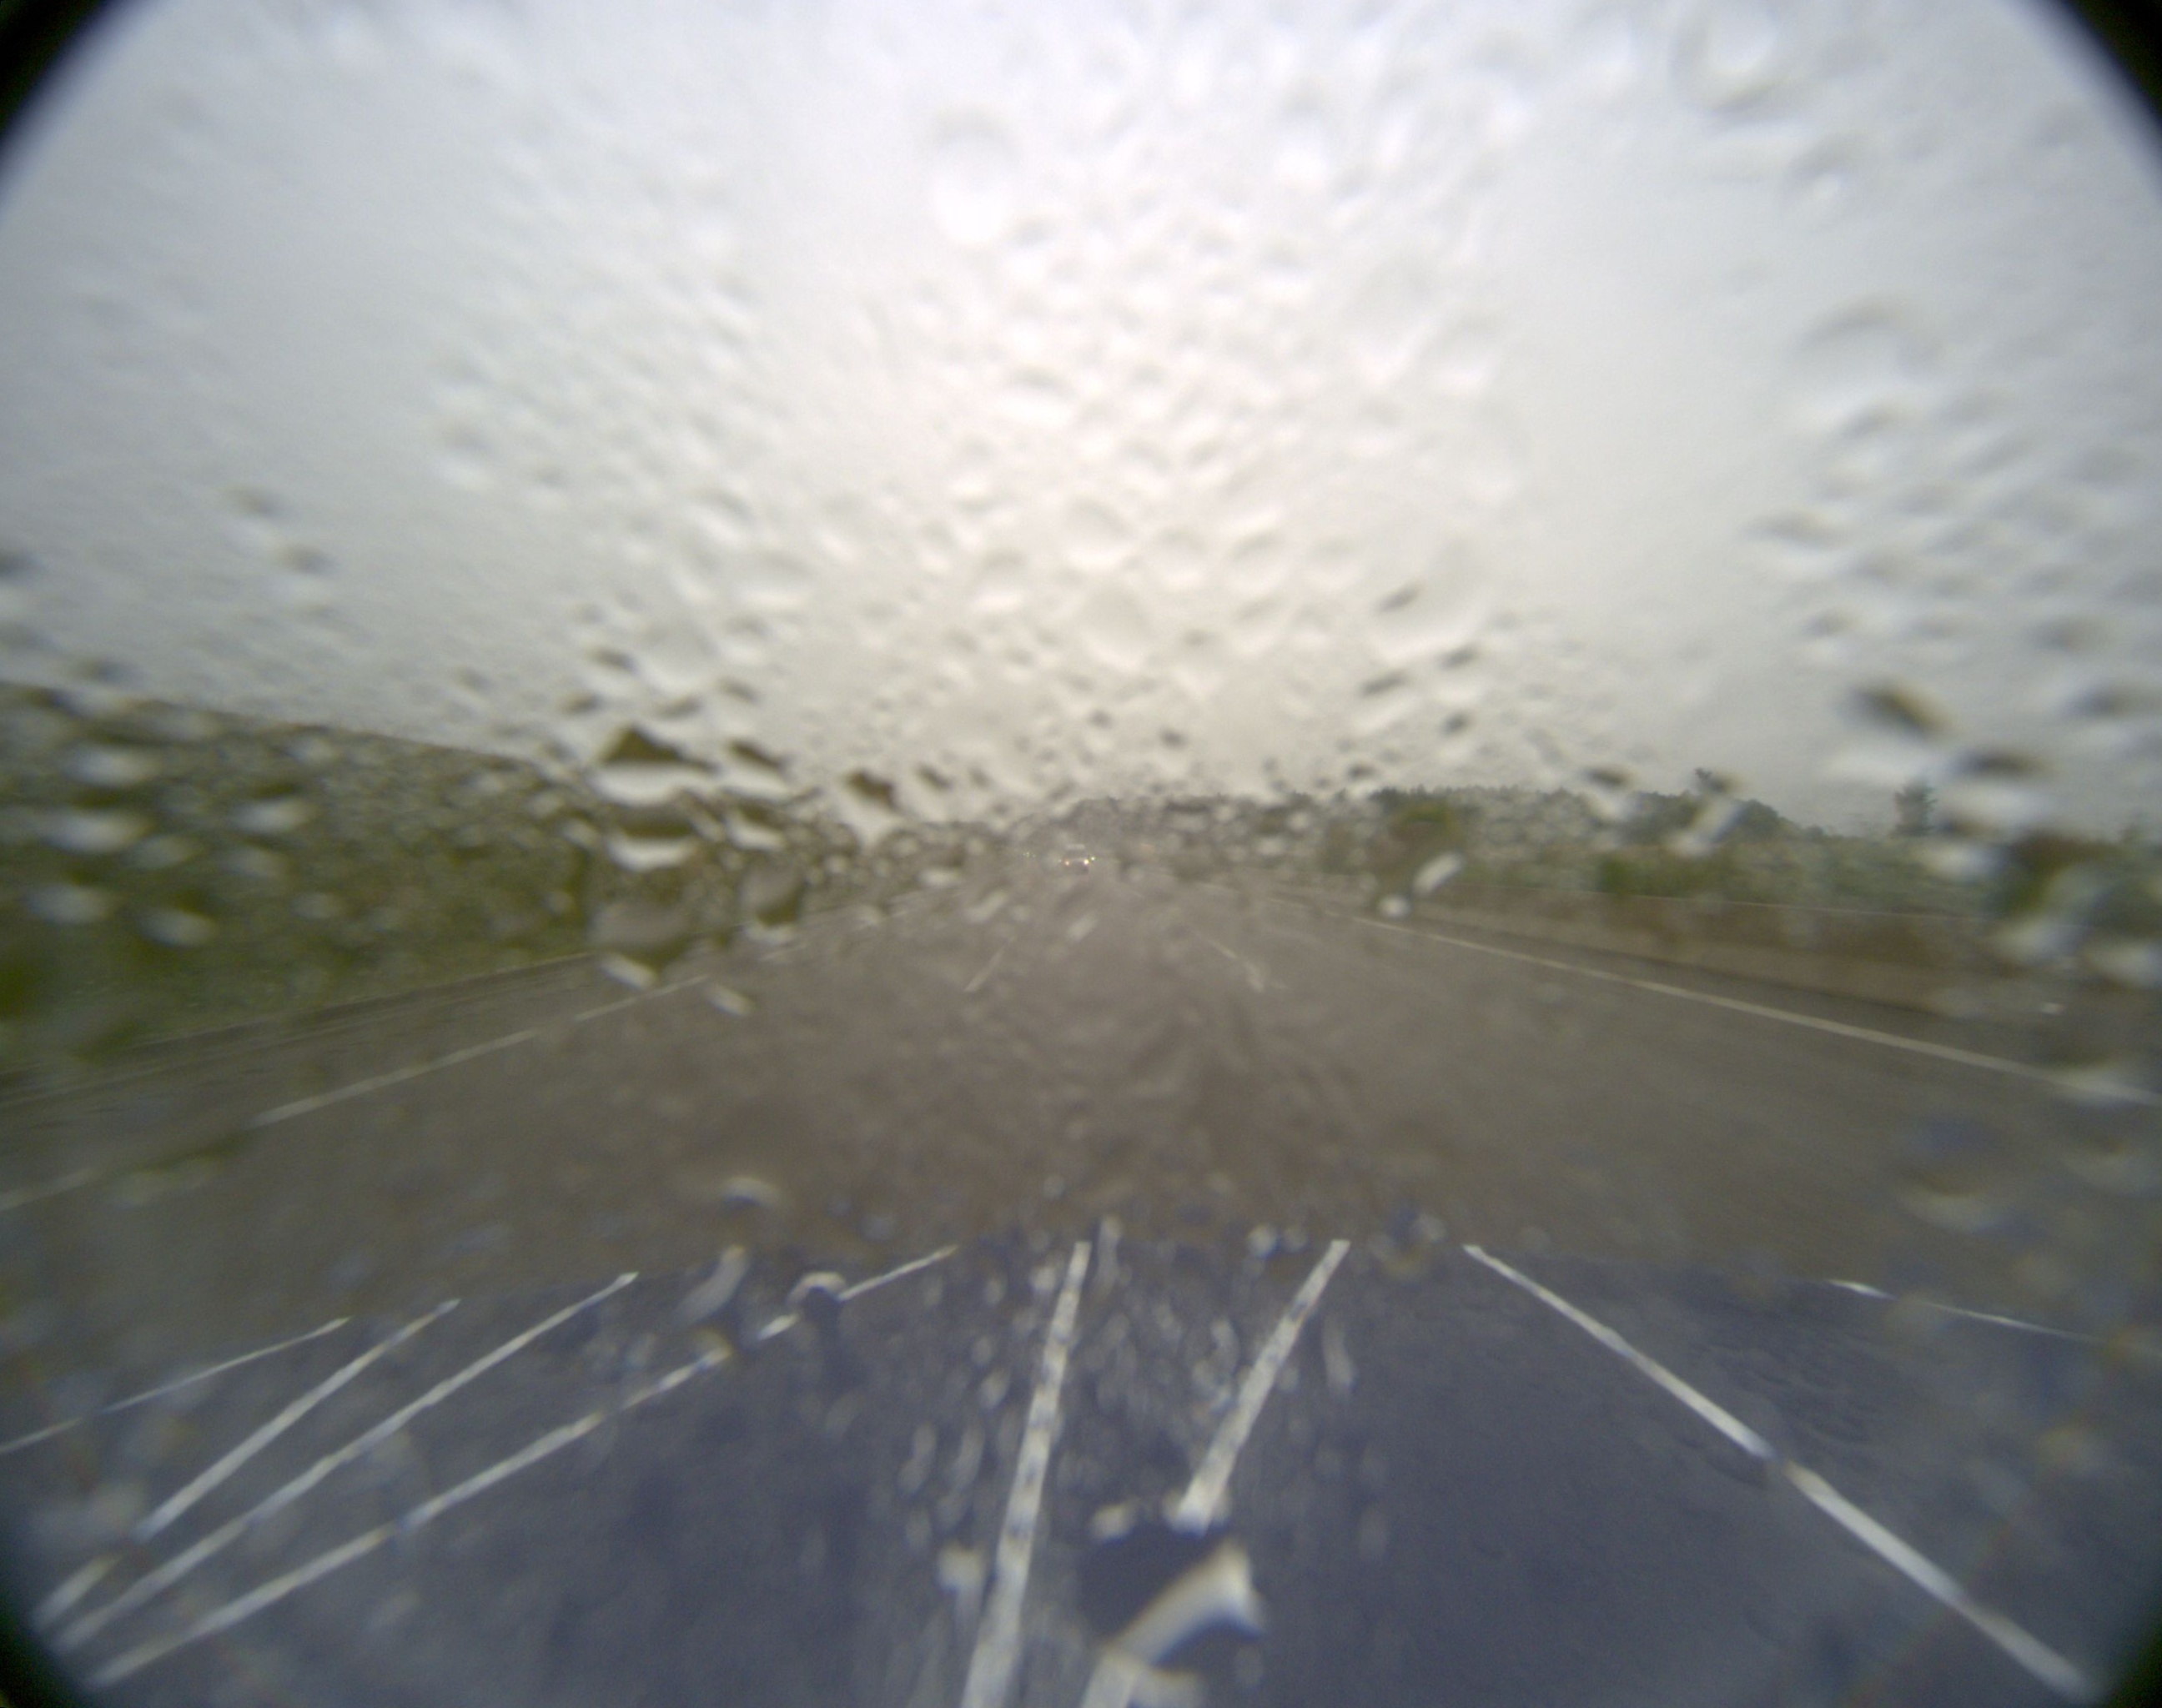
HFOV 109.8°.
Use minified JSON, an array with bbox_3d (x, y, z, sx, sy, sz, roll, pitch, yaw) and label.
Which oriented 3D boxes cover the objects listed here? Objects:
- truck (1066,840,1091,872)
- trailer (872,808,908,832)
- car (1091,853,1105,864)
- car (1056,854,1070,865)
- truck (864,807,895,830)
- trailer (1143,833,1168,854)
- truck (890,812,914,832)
[{"bbox_3d":[-0.226,0.116,68.797,1.998,2.699,7.998,-2,1,0],"label":"truck"},{"bbox_3d":[-24.609,-4.371,98.148,2.302,2.740,9.403,-2,1,-1],"label":"trailer"},{"bbox_3d":[2.692,0.688,121.442,1.999,1.608,3.999,-1,0,-3],"label":"car"},{"bbox_3d":[-2.863,0.840,118.138,1.999,1.521,3.999,-1,0,-4],"label":"car"},{"bbox_3d":[-24.526,-4.261,92.759,2.372,2.589,5.061,-2,1,-1],"label":"truck"},{"bbox_3d":[15.208,-2.154,156.459,3.395,3.995,13.885,-2,0,-2],"label":"trailer"},{"bbox_3d":[-25.356,-4.546,107.626,2.431,2.553,5.077,-2,1,-4],"label":"truck"}]
